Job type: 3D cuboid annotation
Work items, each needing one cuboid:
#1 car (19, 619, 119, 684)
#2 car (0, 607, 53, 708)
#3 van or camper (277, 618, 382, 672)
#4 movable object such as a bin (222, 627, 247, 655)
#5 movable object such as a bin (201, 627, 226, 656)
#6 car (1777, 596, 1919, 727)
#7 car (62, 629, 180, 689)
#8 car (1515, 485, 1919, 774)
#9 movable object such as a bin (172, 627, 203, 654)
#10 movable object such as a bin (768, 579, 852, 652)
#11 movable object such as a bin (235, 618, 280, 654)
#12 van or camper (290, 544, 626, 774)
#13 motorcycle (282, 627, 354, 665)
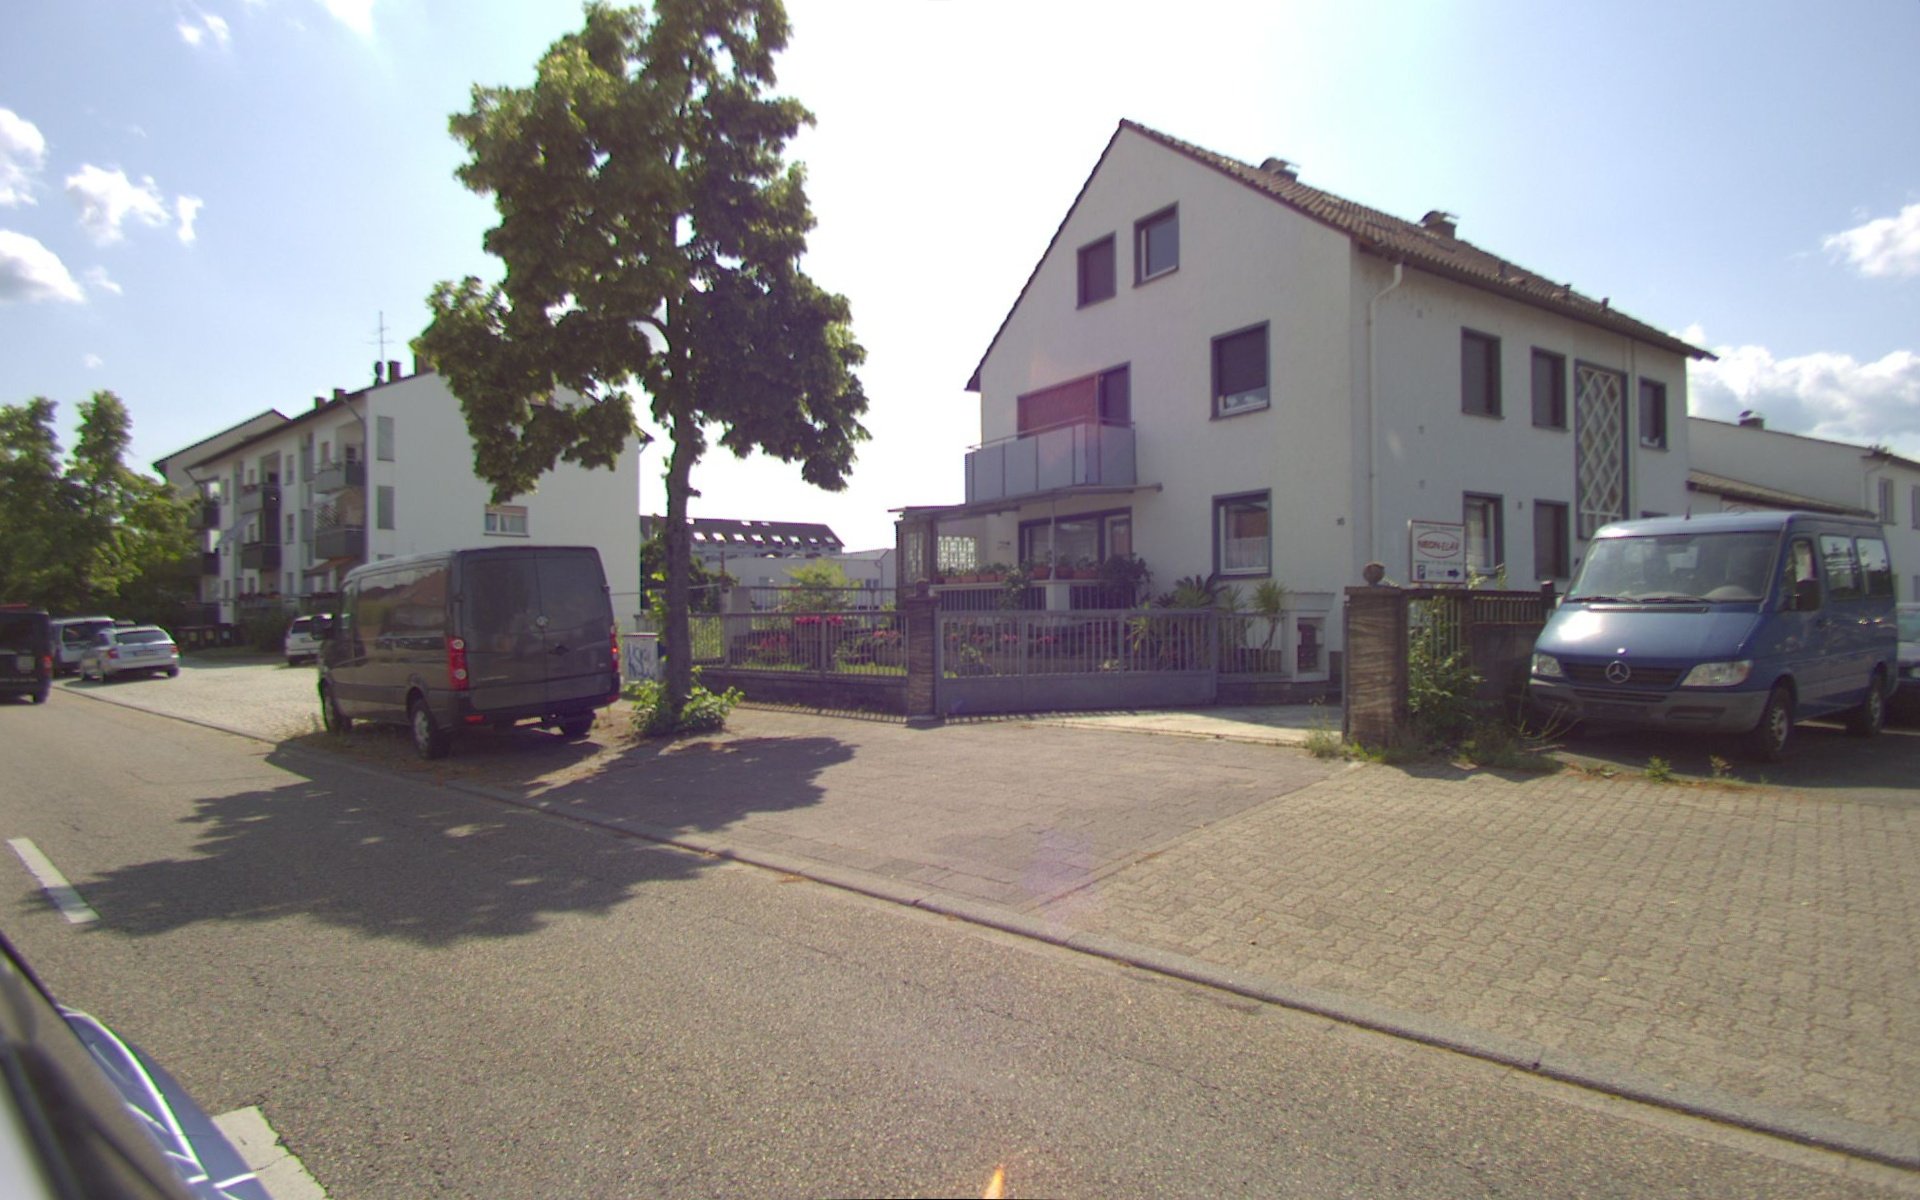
[{"bbox_3d":[-28.754,1.612,32.609,4.489,1.819,1.791,-2,1,41],"label":"car"},{"bbox_3d":[-21.500,1.199,21.997,5.140,2.050,2.029,-2,-3,42],"label":"car"},{"bbox_3d":[-20.865,1.438,33.674,1.752,1.554,4.010,-2,0,-13],"label":"van or camper"},{"bbox_3d":[-32.752,1.859,45.674,0.806,1.223,0.742,-4,-3,42],"label":"movable object such as a bin"},{"bbox_3d":[-33.293,1.849,45.106,0.806,1.223,0.742,-4,-3,42],"label":"movable object such as a bin"},{"bbox_3d":[11.800,0.674,12.271,3.801,1.416,2.005,0,0,-35],"label":"car"},{"bbox_3d":[-24.211,1.684,29.147,4.704,1.472,1.731,-3,1,40],"label":"car"},{"bbox_3d":[7.797,0.235,10.111,4.934,2.248,2.005,0,0,-35],"label":"car"},{"bbox_3d":[-33.904,1.778,44.432,0.824,1.158,0.943,-4,-3,42],"label":"movable object such as a bin"},{"bbox_3d":[-3.393,0.361,22.787,1.291,1.443,1.607,0,-8,-32],"label":"movable object such as a bin"},{"bbox_3d":[-30.422,1.552,43.841,1.265,1.394,1.257,-9,-4,41],"label":"movable object such as a bin"},{"bbox_3d":[-6.730,0.616,13.117,5.936,2.334,1.971,-1,2,44],"label":"van or camper"},{"bbox_3d":[-23.257,1.639,36.692,0.677,1.258,2.071,-2,0,42],"label":"motorcycle"}]
